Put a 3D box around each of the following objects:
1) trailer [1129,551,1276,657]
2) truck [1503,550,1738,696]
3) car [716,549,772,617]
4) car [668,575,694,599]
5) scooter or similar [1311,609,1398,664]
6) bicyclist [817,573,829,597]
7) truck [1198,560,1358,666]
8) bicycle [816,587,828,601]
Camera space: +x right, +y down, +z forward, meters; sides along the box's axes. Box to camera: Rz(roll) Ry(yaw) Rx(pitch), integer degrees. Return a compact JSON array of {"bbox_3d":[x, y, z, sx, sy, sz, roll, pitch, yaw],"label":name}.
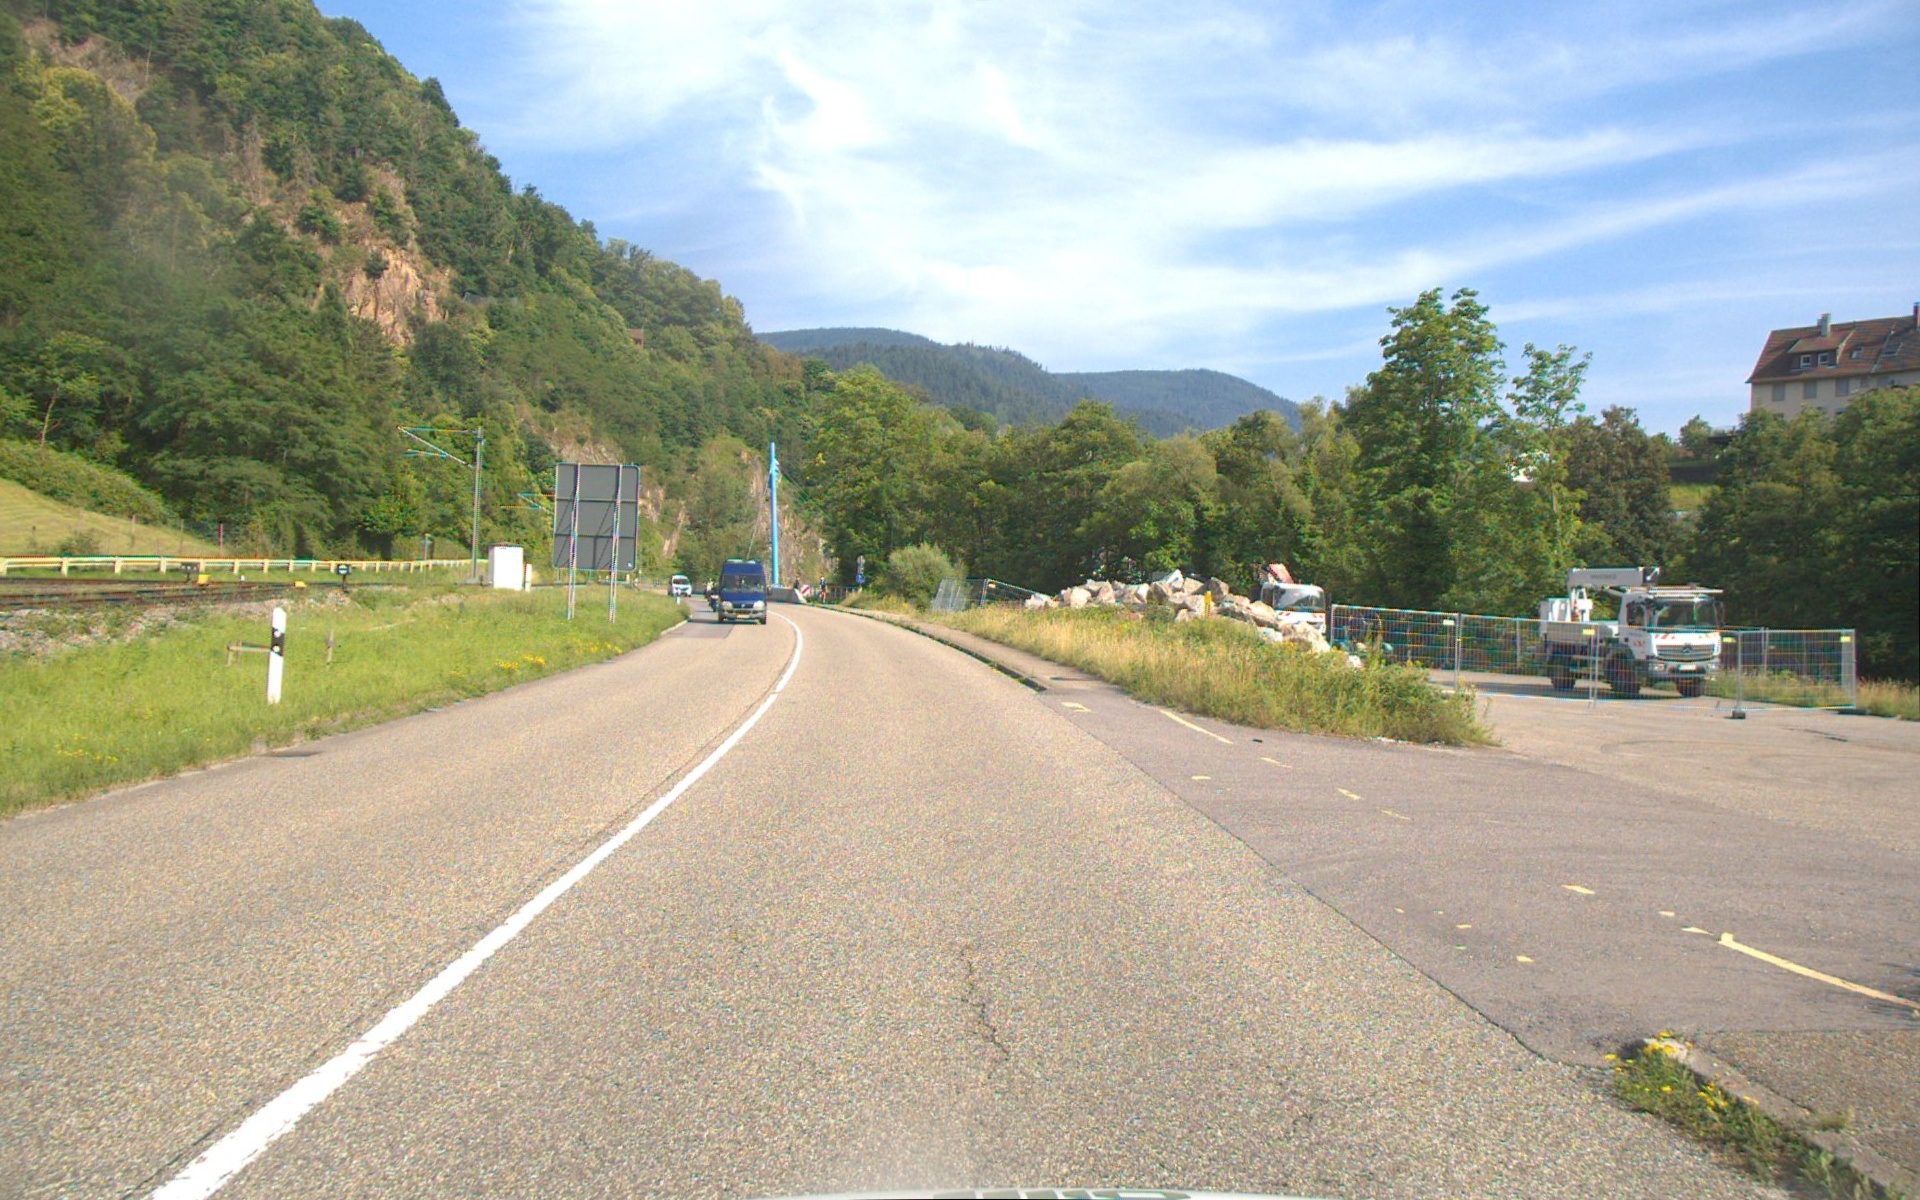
[{"bbox_3d":[10.836,0.177,75.252,3.305,4.349,9.880,3,-1,-11],"label":"trailer"},{"bbox_3d":[19.454,0.620,49.454,3.041,3.848,8.639,3,0,-3],"label":"truck"},{"bbox_3d":[-8.785,-0.703,67.773,2.085,2.661,5.473,0,1,-6],"label":"car"},{"bbox_3d":[-23.769,-1.115,140.675,1.838,1.812,4.583,2,1,-14],"label":"car"},{"bbox_3d":[15.570,1.411,65.459,1.956,2.049,3.992,1,0,-9],"label":"scooter or similar"},{"bbox_3d":[-9.702,-1.081,116.923,0.630,1.683,0.806,4,0,-12],"label":"bicyclist"},{"bbox_3d":[12.545,0.449,66.180,3.048,3.848,8.620,3,0,-12],"label":"truck"},{"bbox_3d":[-9.762,-0.414,116.973,0.637,0.958,1.843,4,0,-11],"label":"bicycle"}]
